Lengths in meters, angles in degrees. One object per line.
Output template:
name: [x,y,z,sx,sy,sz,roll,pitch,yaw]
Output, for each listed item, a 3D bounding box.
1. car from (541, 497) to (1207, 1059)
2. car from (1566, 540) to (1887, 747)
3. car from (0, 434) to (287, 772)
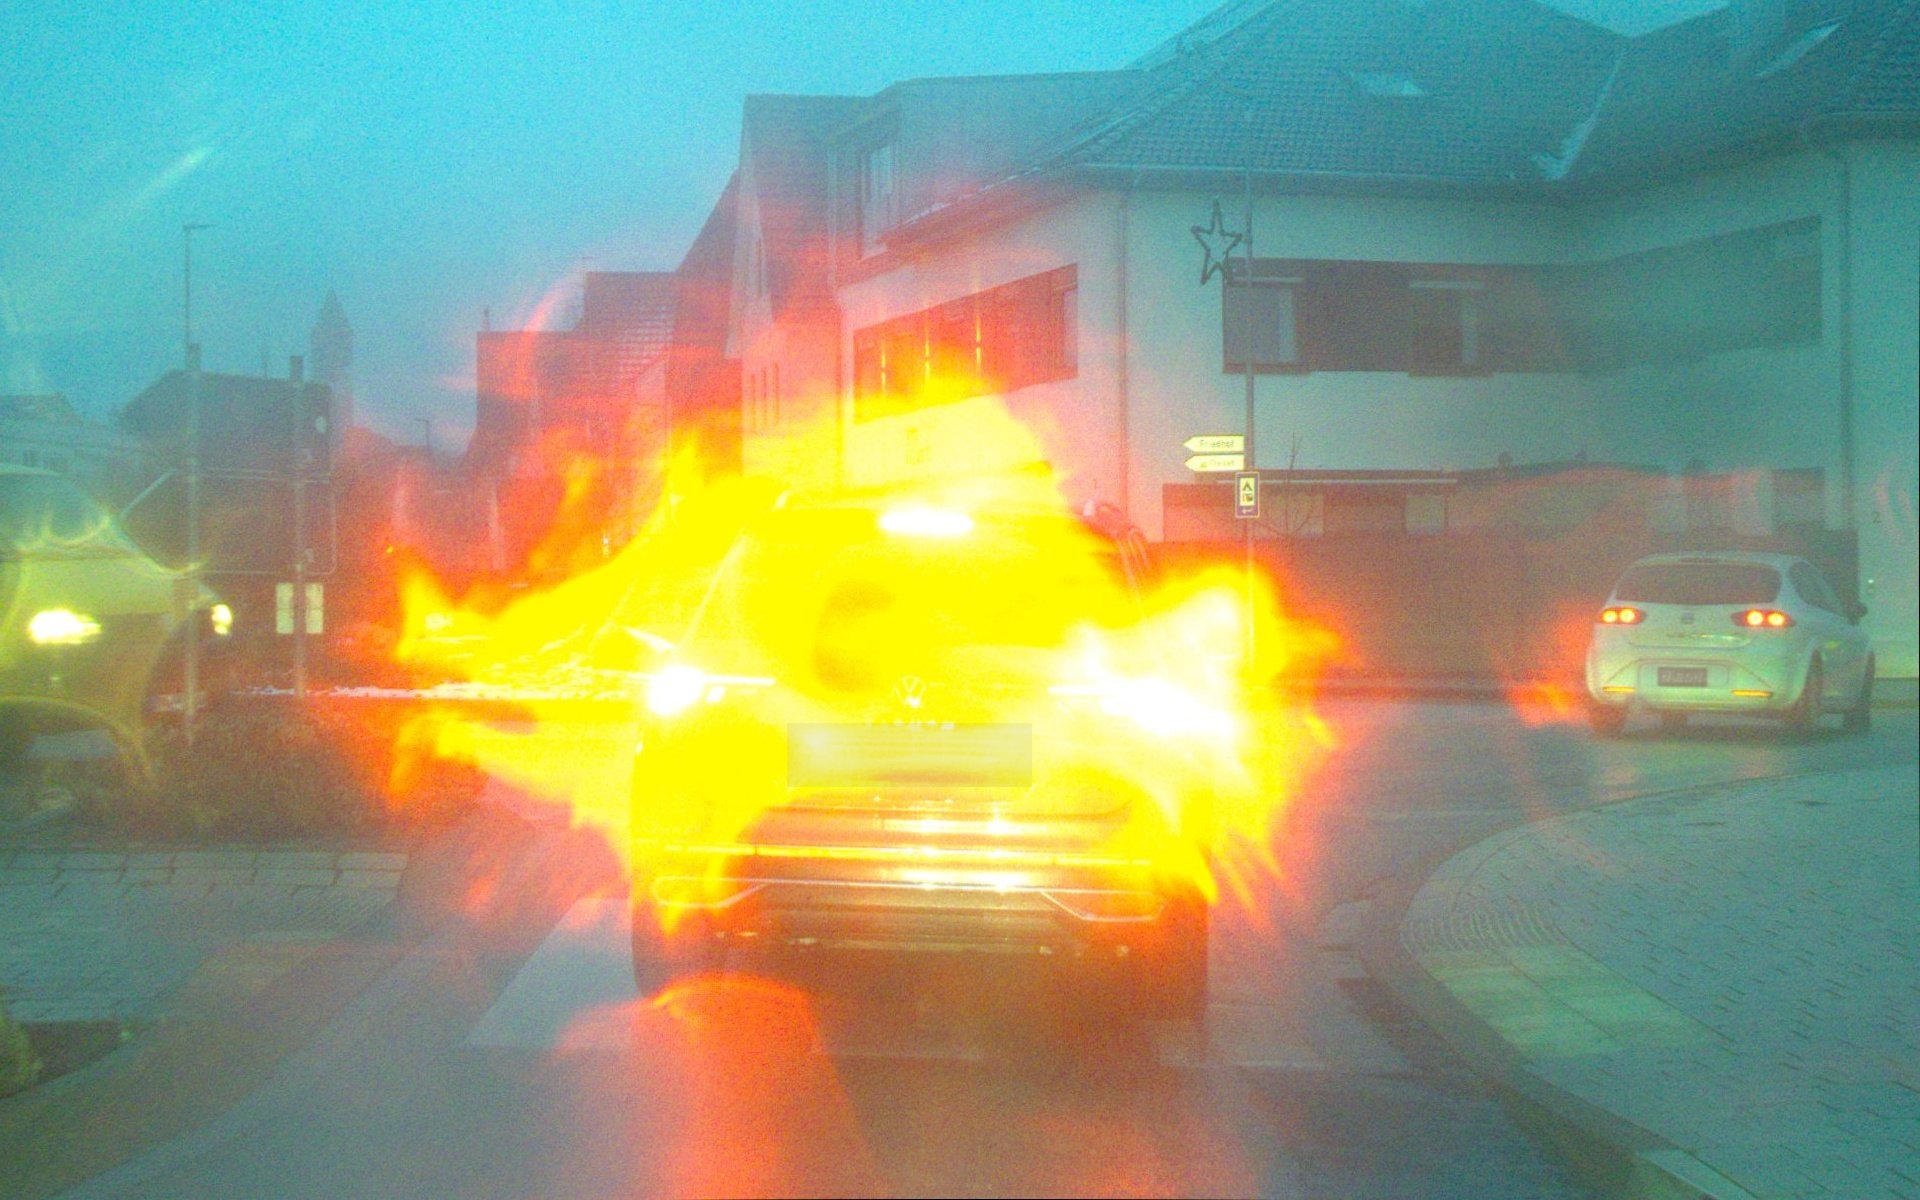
car: [-0.216,0.483,11.915,1.916,1.609,3.950,0,1,1]
car: [6.238,0.289,27.669,1.780,1.533,3.927,0,1,24]
car: [-6.972,-0.008,22.490,4.891,2.007,1.997,1,0,28]
